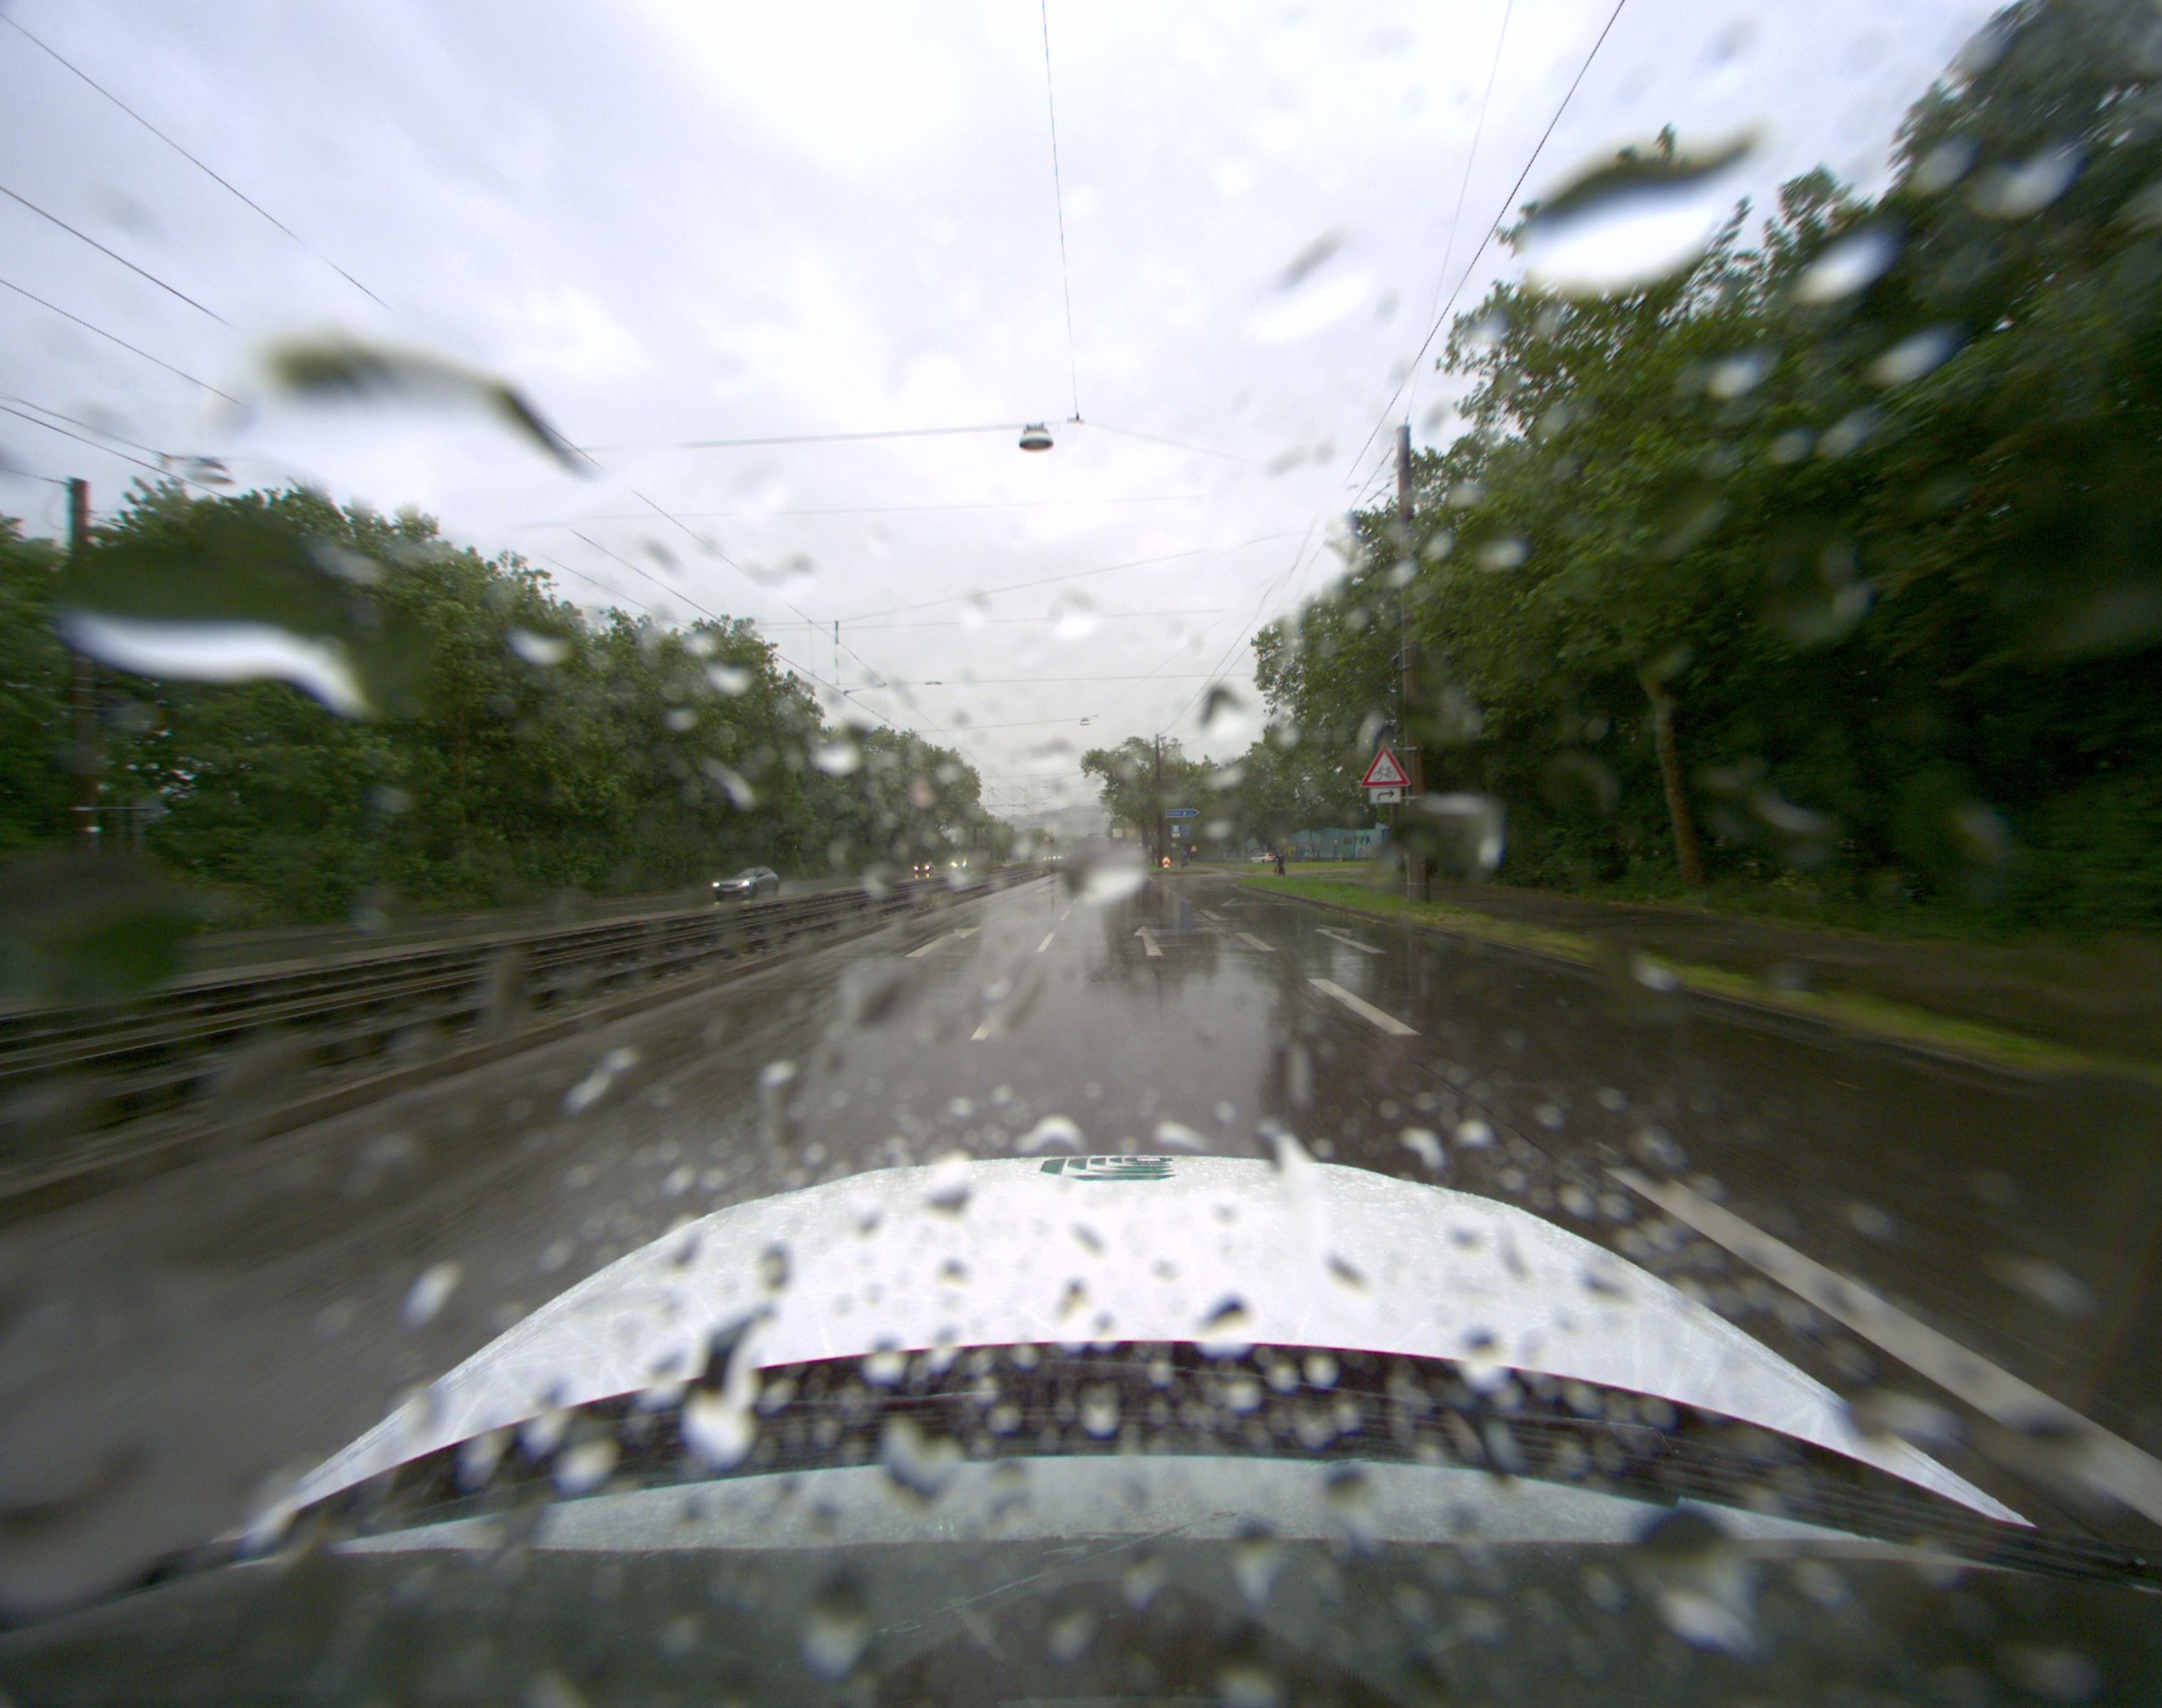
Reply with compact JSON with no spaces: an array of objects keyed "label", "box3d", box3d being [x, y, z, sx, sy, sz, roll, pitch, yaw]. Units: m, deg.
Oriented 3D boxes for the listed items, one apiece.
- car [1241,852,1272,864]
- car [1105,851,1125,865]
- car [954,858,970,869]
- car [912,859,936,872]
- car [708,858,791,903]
[{"label":"car","box3d":[24.167,0.529,112.013,1.957,1.536,4.432,-1,0,-23]},{"label":"car","box3d":[3.637,0.443,88.079,2.069,1.420,4.002,-2,0,2]},{"label":"car","box3d":[-17.523,1.352,120.053,1.684,1.523,4.956,-1,0,1]},{"label":"car","box3d":[-18.091,1.303,93.962,1.765,1.330,4.380,-1,0,1]},{"label":"car","box3d":[-15.210,1.172,37.611,1.986,1.782,4.001,3,0,1]}]
